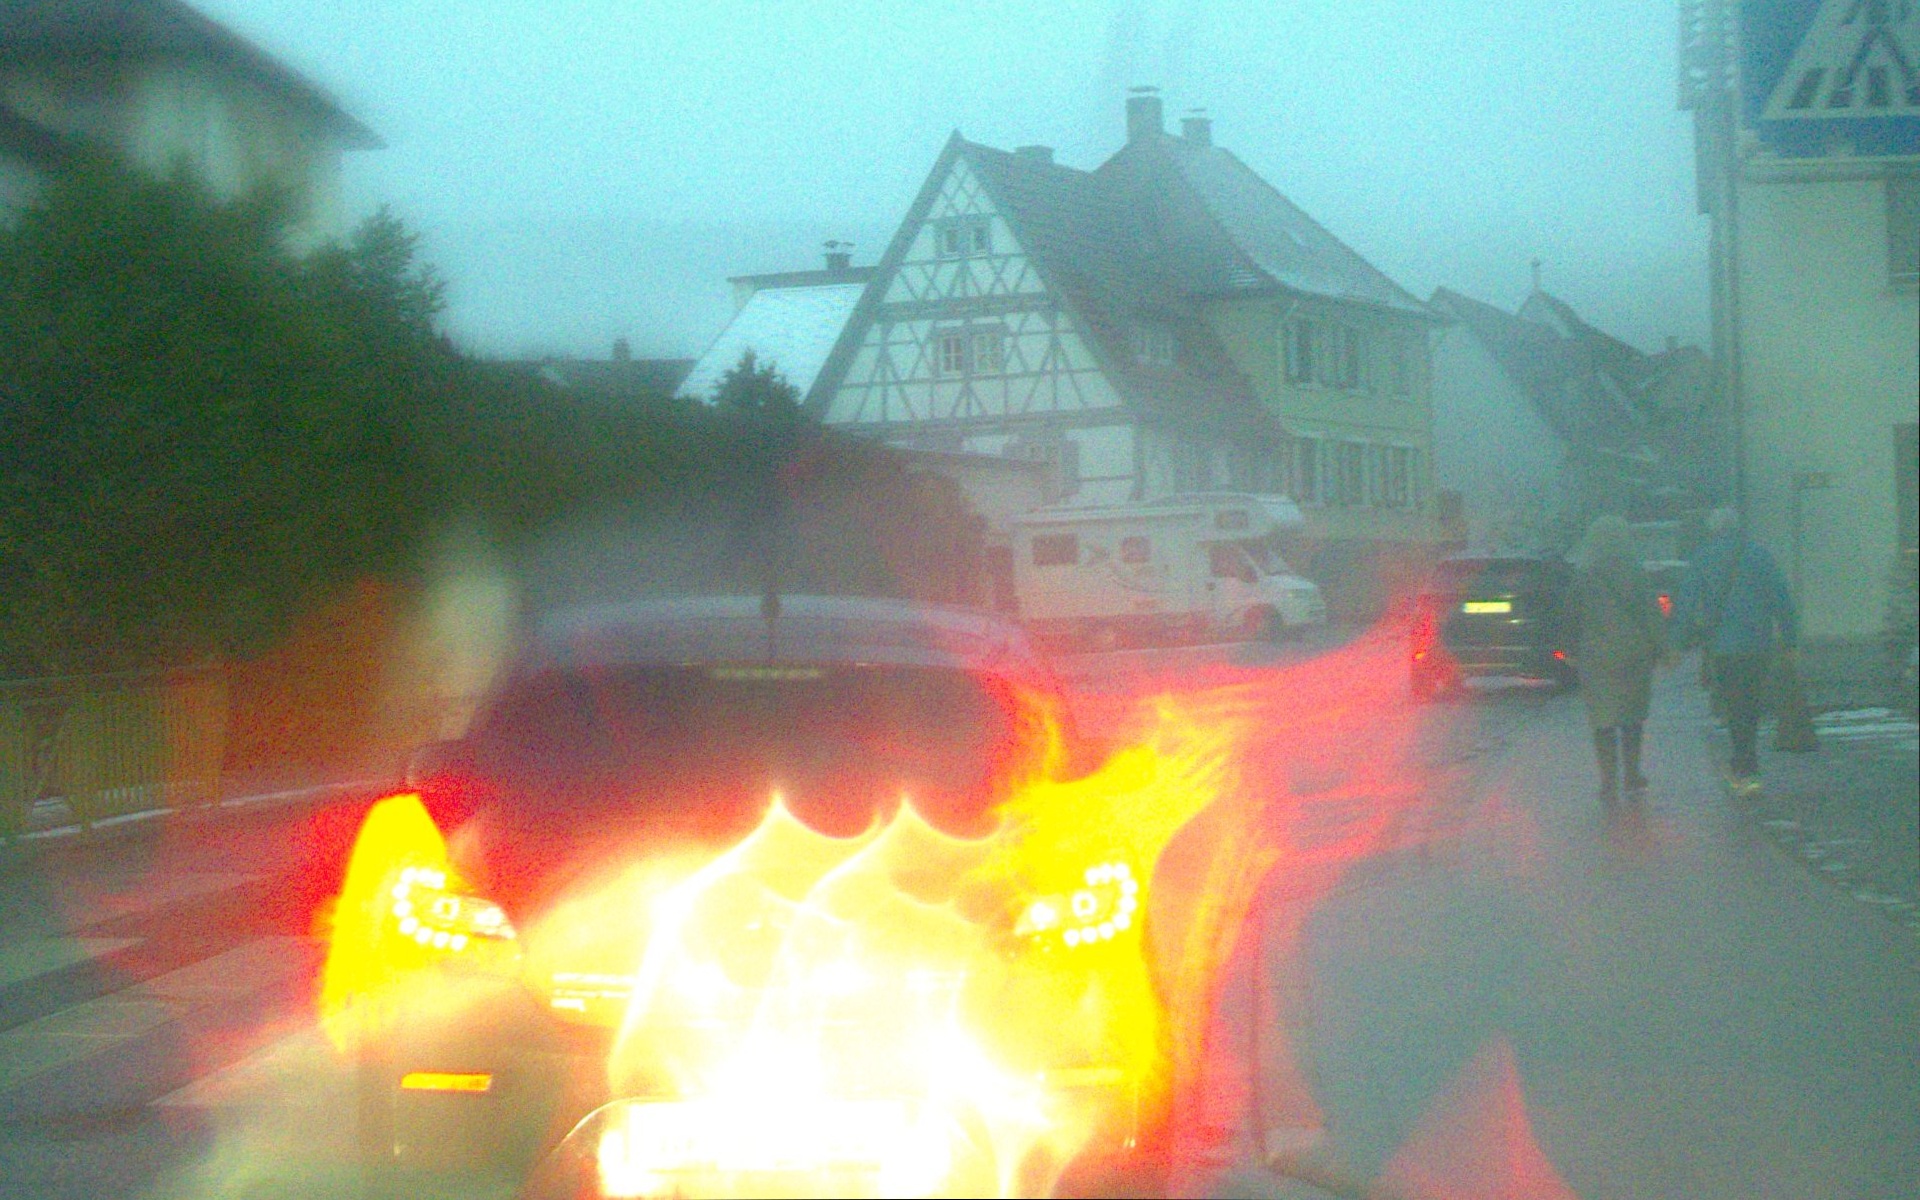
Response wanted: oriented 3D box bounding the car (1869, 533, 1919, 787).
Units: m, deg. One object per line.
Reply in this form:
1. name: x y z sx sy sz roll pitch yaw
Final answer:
1. car: 7.529 0.248 20.443 3.901 1.469 1.750 -3 0 10

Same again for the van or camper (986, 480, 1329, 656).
1. van or camper: 3.870 -0.607 67.348 6.067 2.945 2.403 -4 -1 22

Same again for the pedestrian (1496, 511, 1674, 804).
1. pedestrian: 3.758 0.332 20.606 0.867 1.661 0.991 -4 0 14

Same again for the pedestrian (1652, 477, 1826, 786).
1. pedestrian: 4.616 0.175 20.334 0.849 1.727 0.971 -4 0 15

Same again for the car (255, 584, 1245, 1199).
1. car: -0.487 0.714 8.253 1.795 1.471 4.001 0 1 -3

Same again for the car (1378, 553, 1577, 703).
1. car: 6.049 0.291 39.826 1.849 1.631 4.333 0 0 14
